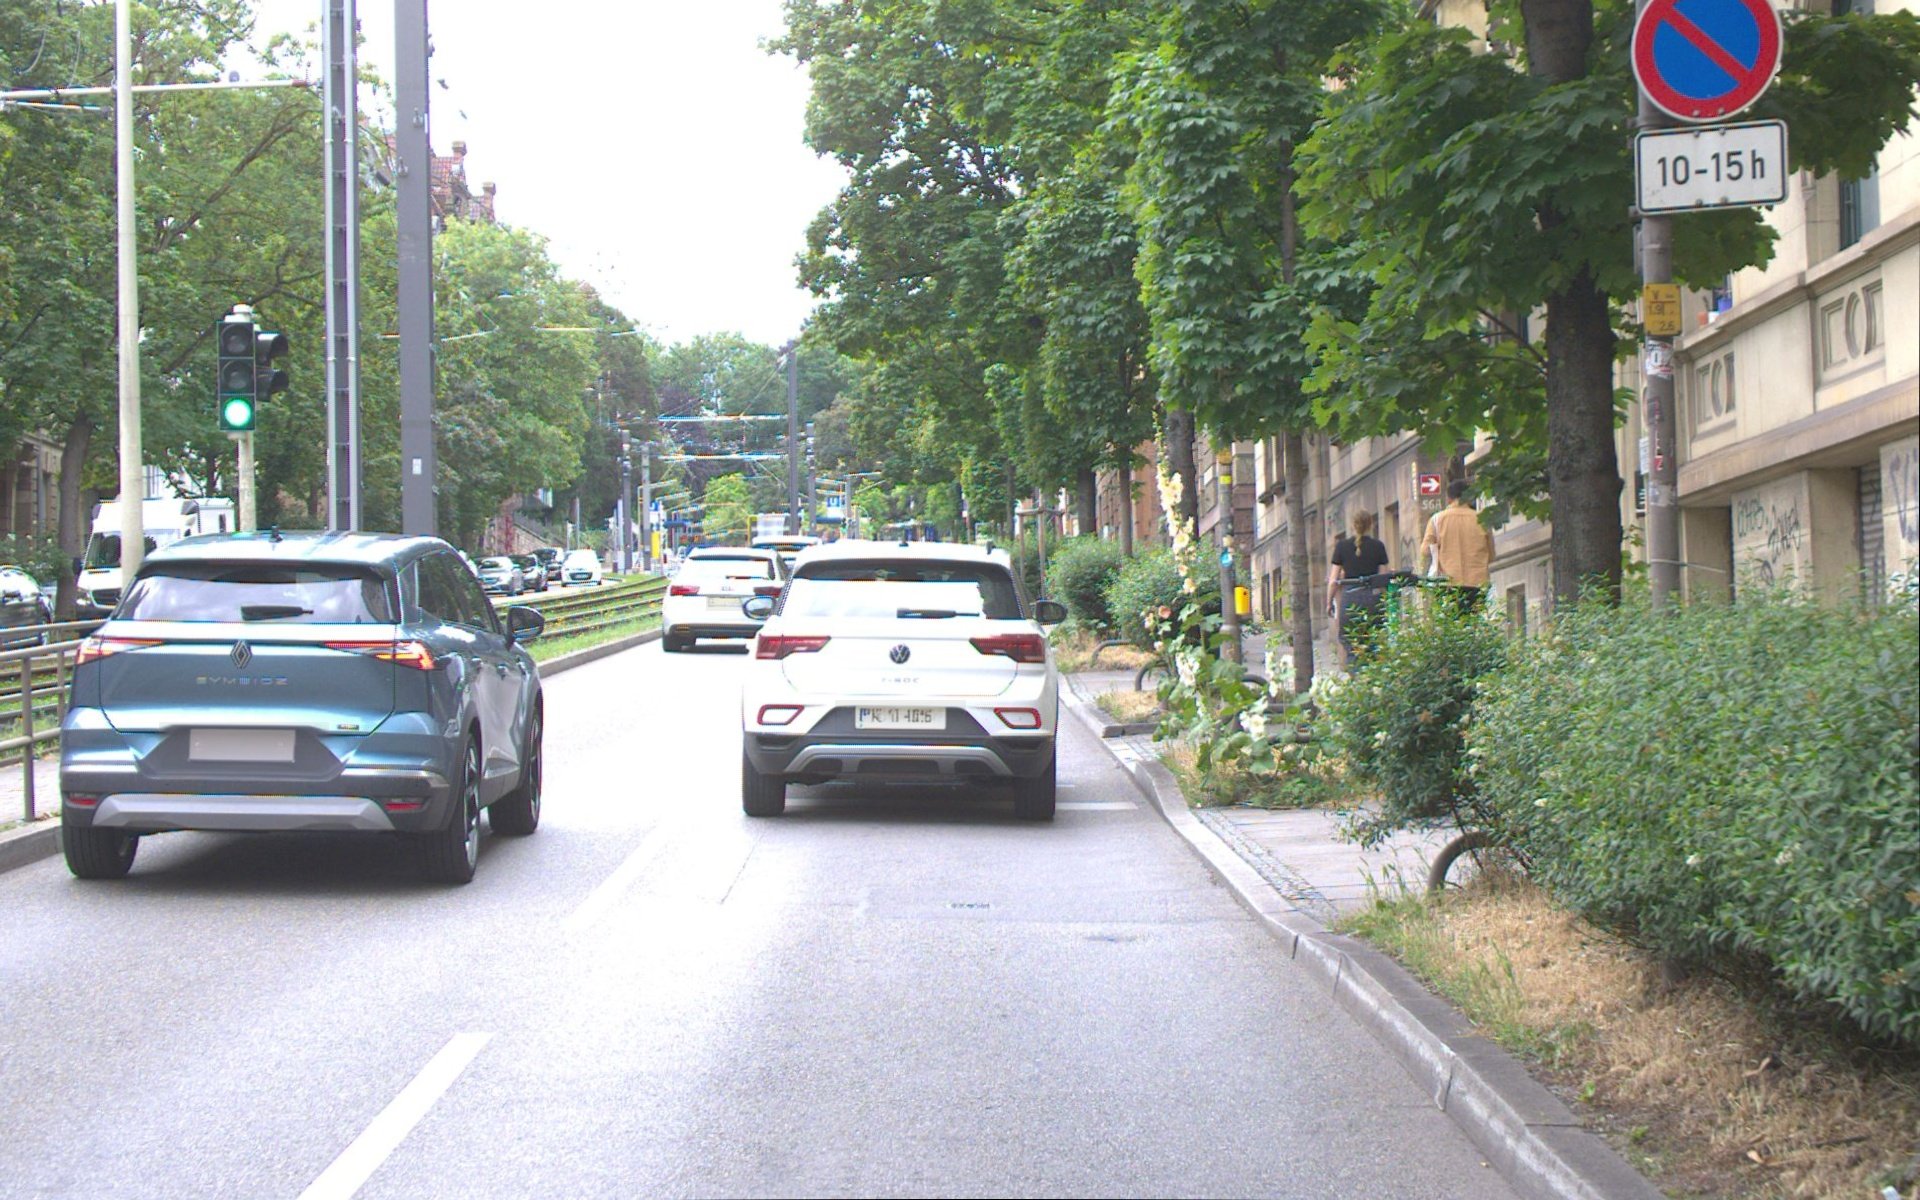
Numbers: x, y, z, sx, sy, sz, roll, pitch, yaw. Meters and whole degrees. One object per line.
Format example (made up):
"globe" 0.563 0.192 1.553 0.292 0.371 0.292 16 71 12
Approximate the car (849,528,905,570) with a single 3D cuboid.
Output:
"car" -3.163 -1.908 130.145 2.068 1.541 4.194 0 1 -2

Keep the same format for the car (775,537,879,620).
"car" -2.535 -0.419 66.358 1.835 1.541 4.193 0 1 0

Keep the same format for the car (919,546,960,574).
"car" -1.184 -2.271 195.791 2.068 1.541 4.194 0 1 -4

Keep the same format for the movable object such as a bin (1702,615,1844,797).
"movable object such as a bin" 4.343 0.561 18.388 0.612 0.916 0.493 -3 1 2

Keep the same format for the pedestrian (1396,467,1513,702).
"pedestrian" 3.978 -0.126 27.712 0.685 1.823 1.121 -3 0 -1

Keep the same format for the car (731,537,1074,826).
"car" -0.360 0.420 20.605 1.835 1.541 4.194 0 1 -1

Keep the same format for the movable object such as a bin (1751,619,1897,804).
"movable object such as a bin" 4.473 0.574 17.798 0.500 0.916 0.493 -4 1 -42

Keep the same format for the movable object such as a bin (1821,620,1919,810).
"movable object such as a bin" 4.583 0.569 17.143 0.500 0.916 0.443 -1 1 19

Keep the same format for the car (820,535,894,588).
"car" -3.106 -1.144 102.655 2.068 1.541 4.194 0 1 -3

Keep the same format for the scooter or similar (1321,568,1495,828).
"scooter or similar" 2.367 0.497 18.296 0.662 1.299 1.384 -3 0 -1

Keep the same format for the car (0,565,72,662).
"car" -15.302 0.216 53.482 1.748 1.424 4.749 -2 1 -1

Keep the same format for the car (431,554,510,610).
"car" -15.101 -0.562 106.208 1.780 1.611 4.346 -3 1 0

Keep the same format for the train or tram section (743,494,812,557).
"train or tram section" -10.186 -4.106 193.317 2.996 3.337 13.439 -1 1 0

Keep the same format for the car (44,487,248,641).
"car" -15.505 -0.687 65.883 2.392 2.690 6.519 -3 1 -1

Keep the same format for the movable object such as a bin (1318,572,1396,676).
"movable object such as a bin" 4.115 0.246 35.673 0.671 1.012 0.582 -3 3 -2

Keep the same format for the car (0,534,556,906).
"car" -3.096 0.481 16.459 1.835 1.541 4.193 0 1 0

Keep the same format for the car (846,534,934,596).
"car" -1.814 -0.891 87.544 2.068 1.541 4.194 0 1 -3

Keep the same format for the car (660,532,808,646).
"car" -3.168 -0.168 48.909 1.835 1.541 4.193 0 1 0

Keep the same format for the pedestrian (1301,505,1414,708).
"pedestrian" 3.188 0.039 27.628 0.685 1.569 1.216 -3 1 -1
